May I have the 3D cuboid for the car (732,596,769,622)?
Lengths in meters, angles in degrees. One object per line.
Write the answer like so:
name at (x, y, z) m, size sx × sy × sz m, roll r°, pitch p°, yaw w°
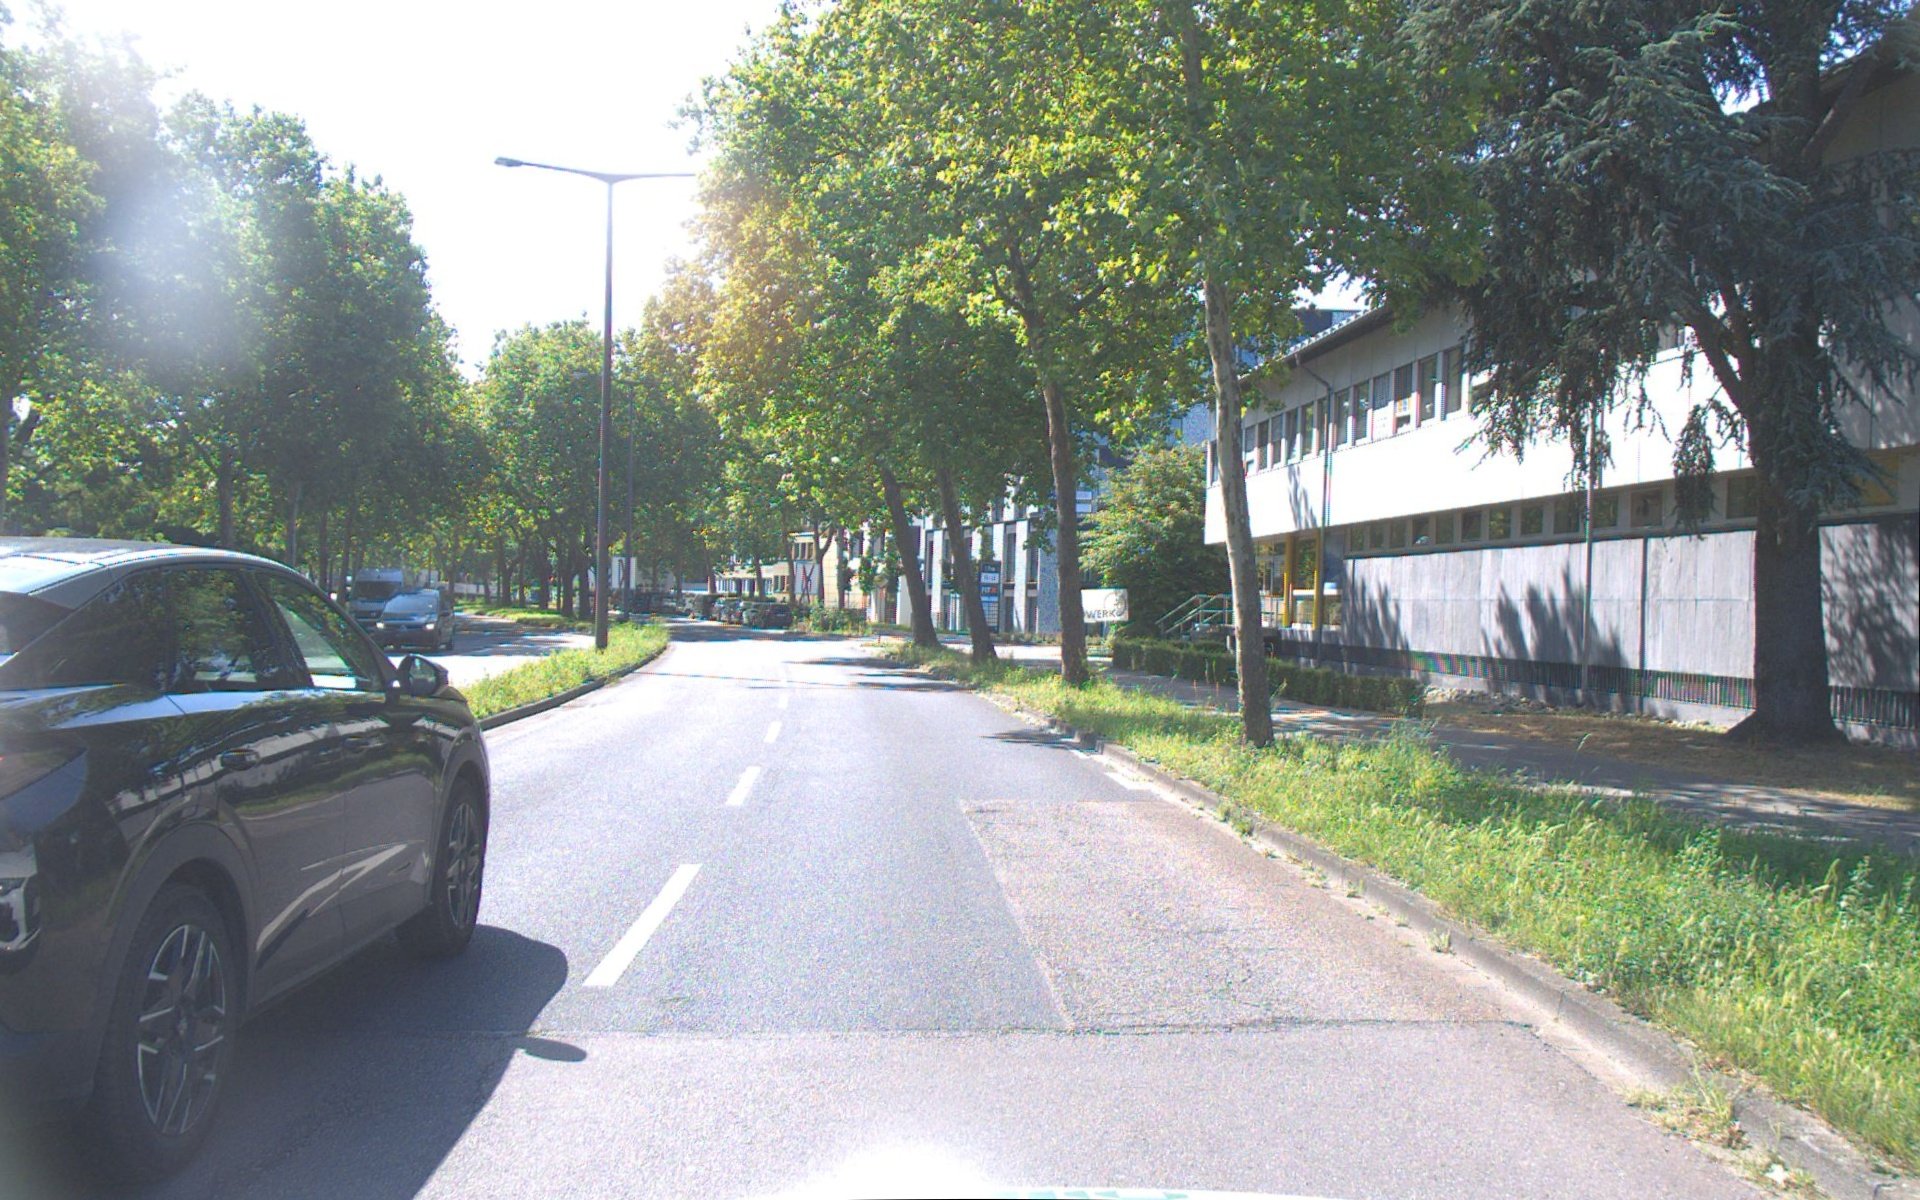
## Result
car at (-12.802, 0.513, 101.045) m, size 1.678 × 1.514 × 4.084 m, roll 2°, pitch 0°, yaw -15°

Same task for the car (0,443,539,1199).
car at (-2.823, 0.542, 5.418) m, size 1.834 × 1.726 × 4.434 m, roll 0°, pitch 0°, yaw -1°

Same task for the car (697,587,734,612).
car at (-17.413, -0.028, 117.677) m, size 1.681 × 1.699 × 4.507 m, roll 2°, pitch 0°, yaw -20°

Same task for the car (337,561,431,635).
car at (-21.895, -0.029, 63.204) m, size 2.022 × 2.659 × 7.203 m, roll 1°, pitch -1°, yaw -8°

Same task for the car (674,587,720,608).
car at (-21.878, -0.182, 137.535) m, size 3.504 × 1.668 × 1.647 m, roll 2°, pitch -1°, yaw -23°

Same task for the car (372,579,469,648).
car at (-15.658, 0.372, 48.233) m, size 1.653 × 1.871 × 4.988 m, roll 1°, pitch 0°, yaw -6°

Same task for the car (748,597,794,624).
car at (-10.982, 0.572, 95.818) m, size 1.681 × 1.514 × 4.693 m, roll 1°, pitch 0°, yaw -19°

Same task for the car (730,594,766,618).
car at (-13.646, 0.374, 106.245) m, size 1.678 × 1.480 × 4.637 m, roll 2°, pitch 0°, yaw -15°
